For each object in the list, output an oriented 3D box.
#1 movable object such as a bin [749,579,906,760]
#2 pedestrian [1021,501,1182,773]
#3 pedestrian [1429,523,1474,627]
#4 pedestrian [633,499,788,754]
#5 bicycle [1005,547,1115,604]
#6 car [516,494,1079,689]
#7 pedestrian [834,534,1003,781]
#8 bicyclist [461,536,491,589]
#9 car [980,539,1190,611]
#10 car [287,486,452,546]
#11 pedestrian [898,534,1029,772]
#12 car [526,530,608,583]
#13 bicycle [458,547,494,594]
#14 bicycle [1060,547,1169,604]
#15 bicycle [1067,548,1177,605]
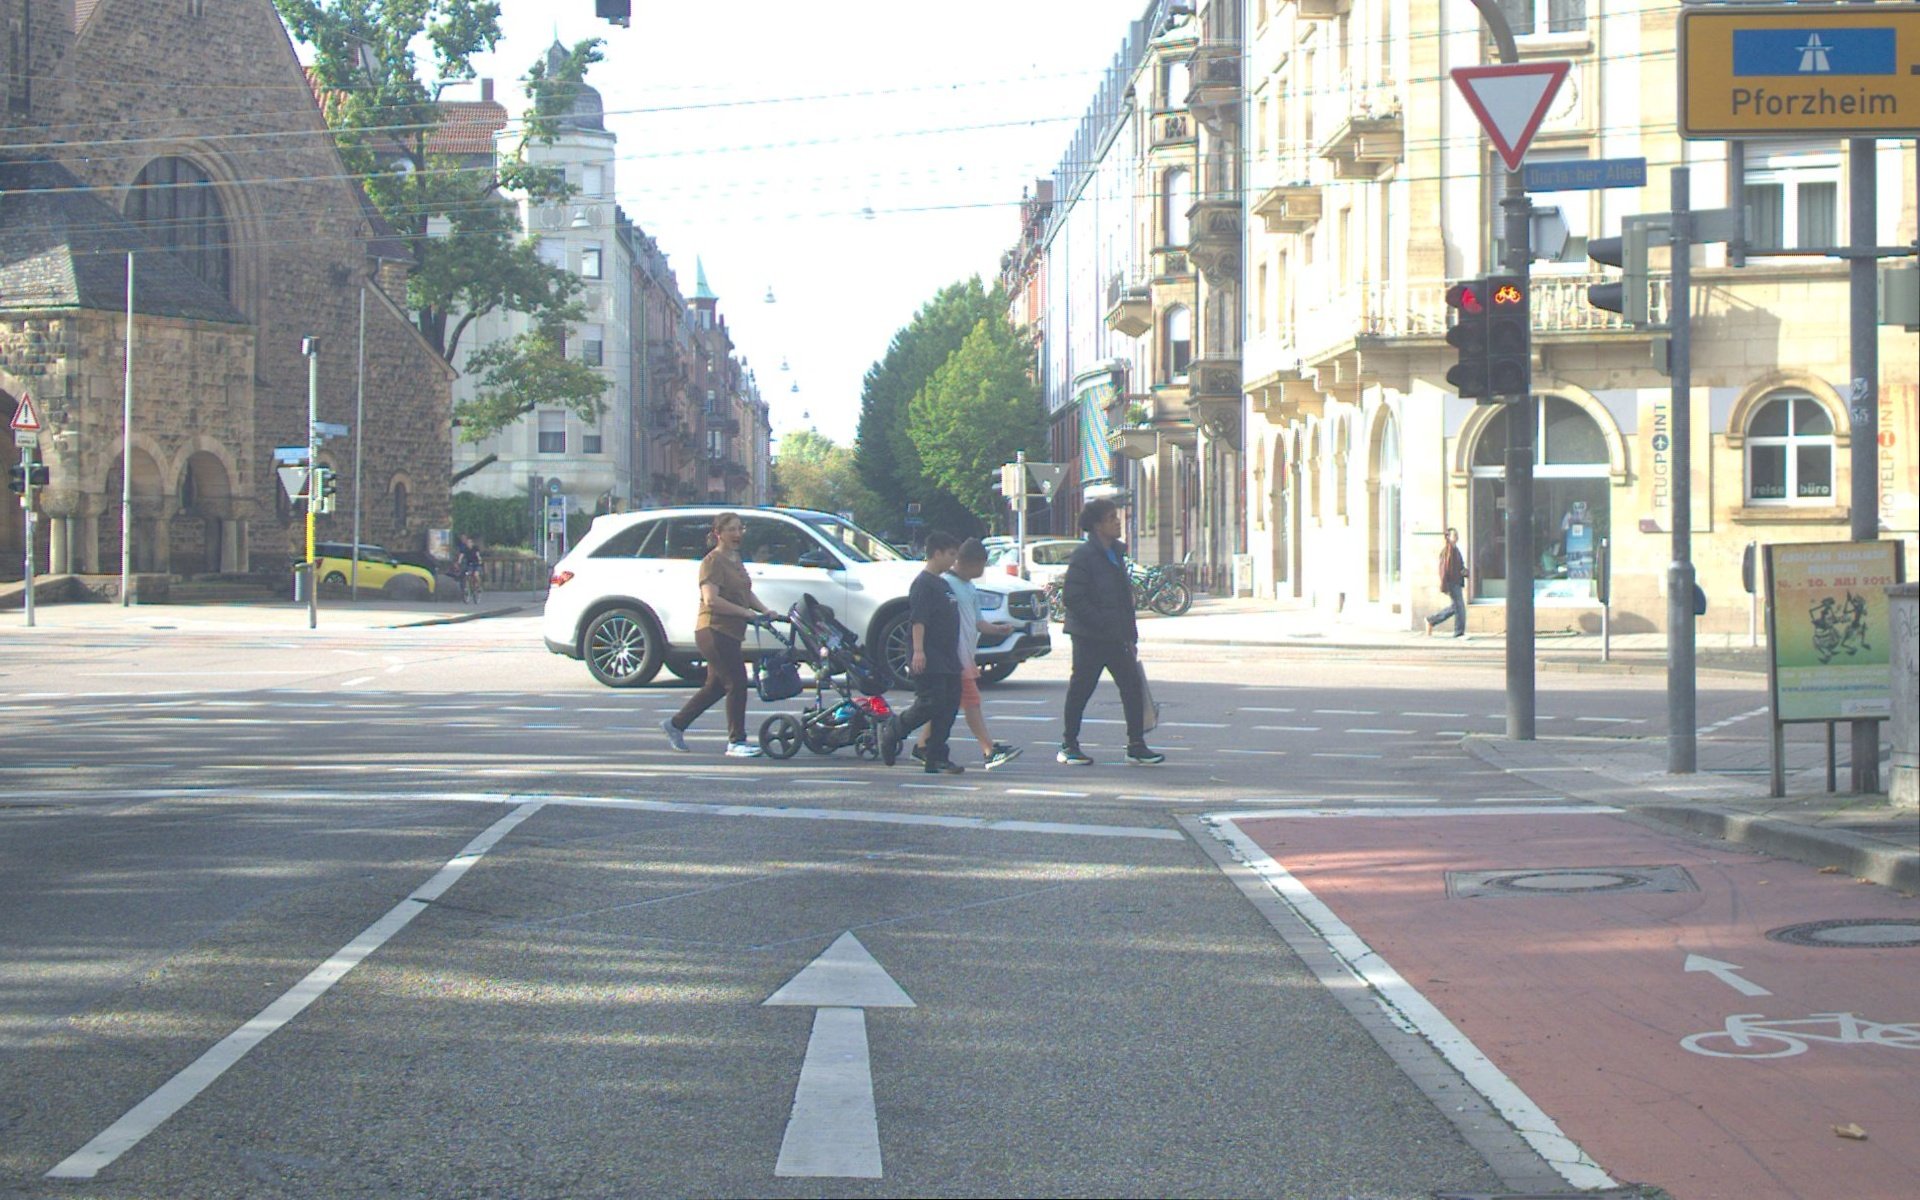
[{"bbox_3d":[-0.844,0.433,21.966,0.838,1.120,0.575,1,1,23],"label":"movable object such as a bin"},{"bbox_3d":[0.887,0.214,21.464,0.782,1.656,0.778,1,1,22],"label":"pedestrian"},{"bbox_3d":[7.708,-0.391,53.910,0.562,1.618,0.600,1,1,21],"label":"pedestrian"},{"bbox_3d":[-1.620,0.156,22.326,0.816,1.623,0.604,1,1,24],"label":"pedestrian"},{"bbox_3d":[1.912,-0.472,66.051,2.022,1.078,0.620,0,1,-10],"label":"bicycle"},{"bbox_3d":[-1.462,-0.119,31.254,4.710,1.677,2.015,1,1,19],"label":"car"},{"bbox_3d":[-0.243,0.325,20.428,0.782,1.427,0.730,1,1,22],"label":"pedestrian"},{"bbox_3d":[-12.488,-0.963,88.678,0.683,1.363,0.780,0,1,-1],"label":"bicyclist"},{"bbox_3d":[2.463,-0.510,68.434,3.986,1.415,2.000,0,1,-4],"label":"car"},{"bbox_3d":[-15.869,-2.265,92.484,3.988,1.590,1.868,-1,2,-39],"label":"car"},{"bbox_3d":[0.022,0.313,20.991,0.656,1.427,0.498,1,1,22],"label":"pedestrian"},{"bbox_3d":[-11.380,-1.275,99.838,1.993,1.492,4.000,0,1,-1],"label":"car"},{"bbox_3d":[-12.496,-0.758,88.804,0.691,1.177,1.919,0,1,-1],"label":"bicycle"},{"bbox_3d":[2.996,-0.479,66.758,2.022,1.078,0.631,0,1,-10],"label":"bicycle"},{"bbox_3d":[3.117,-0.461,66.087,2.022,1.078,0.620,0,1,-10],"label":"bicycle"}]
